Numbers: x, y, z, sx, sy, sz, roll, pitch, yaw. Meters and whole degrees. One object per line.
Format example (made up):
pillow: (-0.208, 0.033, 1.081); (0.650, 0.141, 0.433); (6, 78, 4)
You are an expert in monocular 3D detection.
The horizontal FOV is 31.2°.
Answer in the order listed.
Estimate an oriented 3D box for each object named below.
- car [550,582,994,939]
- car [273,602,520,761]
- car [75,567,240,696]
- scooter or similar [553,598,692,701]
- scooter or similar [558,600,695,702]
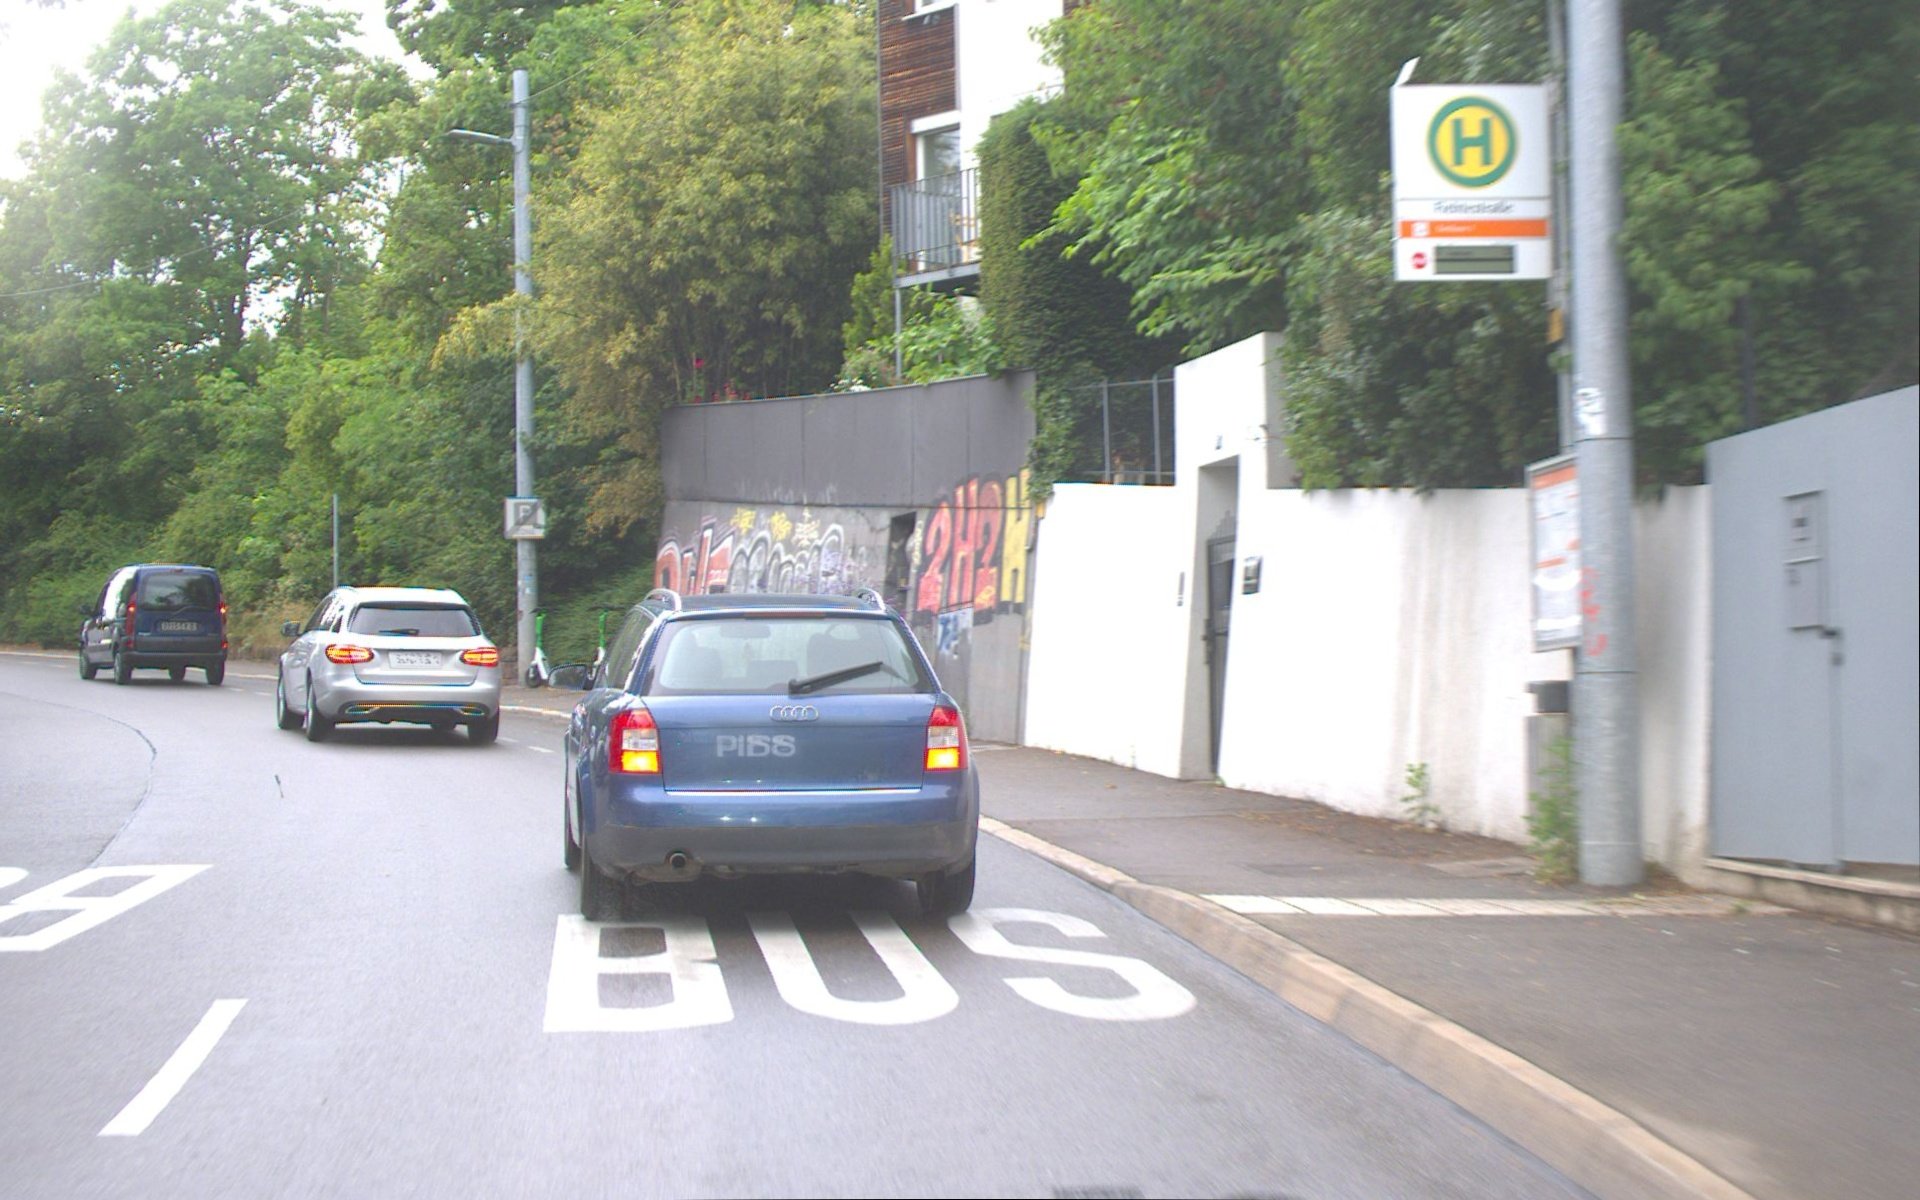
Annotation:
car: (-1.003, 0.660, 16.138); (1.777, 1.434, 4.001); (-1, 0, -7)
car: (-5.553, 0.753, 33.461); (1.908, 1.384, 4.351); (2, -1, -15)
car: (-12.535, 0.478, 53.537); (1.730, 1.888, 4.056); (-2, 0, -24)
scooter or similar: (-4.760, 0.705, 48.438); (1.833, 1.310, 0.600); (4, -3, -8)
scooter or similar: (-4.769, 0.735, 49.087); (1.833, 1.310, 0.600); (4, -3, -8)
